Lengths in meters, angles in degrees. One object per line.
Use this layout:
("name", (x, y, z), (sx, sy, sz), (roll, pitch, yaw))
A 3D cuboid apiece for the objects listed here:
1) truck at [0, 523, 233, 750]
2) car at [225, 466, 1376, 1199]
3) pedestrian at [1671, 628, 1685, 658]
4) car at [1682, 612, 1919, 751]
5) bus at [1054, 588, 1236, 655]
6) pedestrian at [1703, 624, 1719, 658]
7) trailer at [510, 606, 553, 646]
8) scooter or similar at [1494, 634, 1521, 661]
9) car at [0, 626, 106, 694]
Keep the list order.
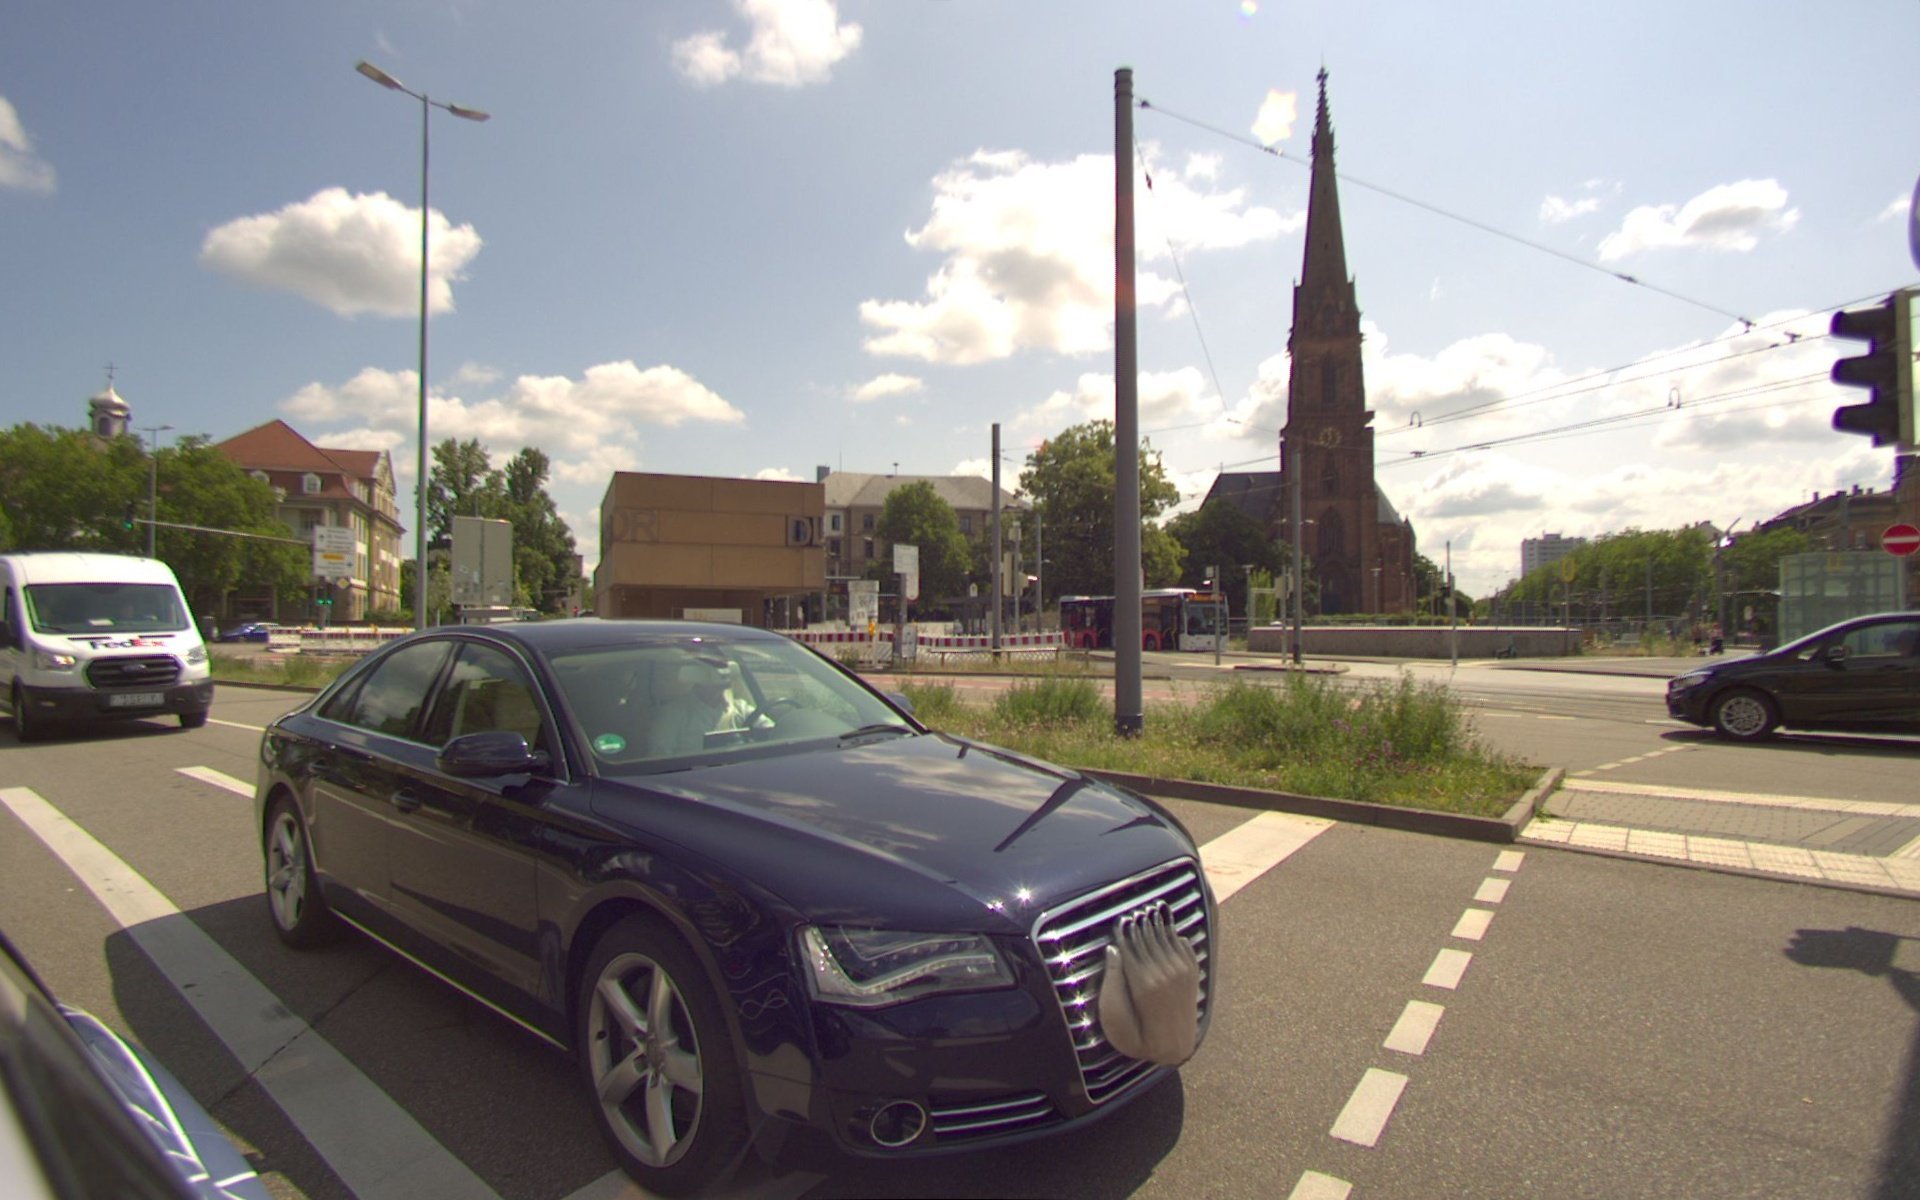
("truck", (-12.728, 0.442, 14.514), (5.908, 2.660, 2.117), (0, -1, 37))
("car", (-1.131, 0.666, 4.020), (4.790, 1.654, 1.908), (-2, -2, 42))
("pedestrian", (44.489, 2.663, 62.707), (0.520, 1.806, 0.619), (1, 0, -43))
("car", (10.825, 0.889, 11.445), (4.153, 1.480, 1.635), (-2, -2, 43))
("bus", (8.645, 0.920, 49.929), (2.550, 2.881, 12.307), (0, 0, -22))
("pedestrian", (40.950, 2.210, 55.159), (0.520, 1.806, 0.619), (1, 0, -43))
("trailer", (-33.111, 1.982, 78.089), (1.968, 2.935, 4.375), (0, 0, -38))
("scooter or similar", (23.002, 1.983, 42.529), (1.111, 1.098, 0.243), (0, 0, -12))
("car", (-22.169, 1.343, 23.508), (4.490, 1.445, 1.739), (-1, -1, 23))
